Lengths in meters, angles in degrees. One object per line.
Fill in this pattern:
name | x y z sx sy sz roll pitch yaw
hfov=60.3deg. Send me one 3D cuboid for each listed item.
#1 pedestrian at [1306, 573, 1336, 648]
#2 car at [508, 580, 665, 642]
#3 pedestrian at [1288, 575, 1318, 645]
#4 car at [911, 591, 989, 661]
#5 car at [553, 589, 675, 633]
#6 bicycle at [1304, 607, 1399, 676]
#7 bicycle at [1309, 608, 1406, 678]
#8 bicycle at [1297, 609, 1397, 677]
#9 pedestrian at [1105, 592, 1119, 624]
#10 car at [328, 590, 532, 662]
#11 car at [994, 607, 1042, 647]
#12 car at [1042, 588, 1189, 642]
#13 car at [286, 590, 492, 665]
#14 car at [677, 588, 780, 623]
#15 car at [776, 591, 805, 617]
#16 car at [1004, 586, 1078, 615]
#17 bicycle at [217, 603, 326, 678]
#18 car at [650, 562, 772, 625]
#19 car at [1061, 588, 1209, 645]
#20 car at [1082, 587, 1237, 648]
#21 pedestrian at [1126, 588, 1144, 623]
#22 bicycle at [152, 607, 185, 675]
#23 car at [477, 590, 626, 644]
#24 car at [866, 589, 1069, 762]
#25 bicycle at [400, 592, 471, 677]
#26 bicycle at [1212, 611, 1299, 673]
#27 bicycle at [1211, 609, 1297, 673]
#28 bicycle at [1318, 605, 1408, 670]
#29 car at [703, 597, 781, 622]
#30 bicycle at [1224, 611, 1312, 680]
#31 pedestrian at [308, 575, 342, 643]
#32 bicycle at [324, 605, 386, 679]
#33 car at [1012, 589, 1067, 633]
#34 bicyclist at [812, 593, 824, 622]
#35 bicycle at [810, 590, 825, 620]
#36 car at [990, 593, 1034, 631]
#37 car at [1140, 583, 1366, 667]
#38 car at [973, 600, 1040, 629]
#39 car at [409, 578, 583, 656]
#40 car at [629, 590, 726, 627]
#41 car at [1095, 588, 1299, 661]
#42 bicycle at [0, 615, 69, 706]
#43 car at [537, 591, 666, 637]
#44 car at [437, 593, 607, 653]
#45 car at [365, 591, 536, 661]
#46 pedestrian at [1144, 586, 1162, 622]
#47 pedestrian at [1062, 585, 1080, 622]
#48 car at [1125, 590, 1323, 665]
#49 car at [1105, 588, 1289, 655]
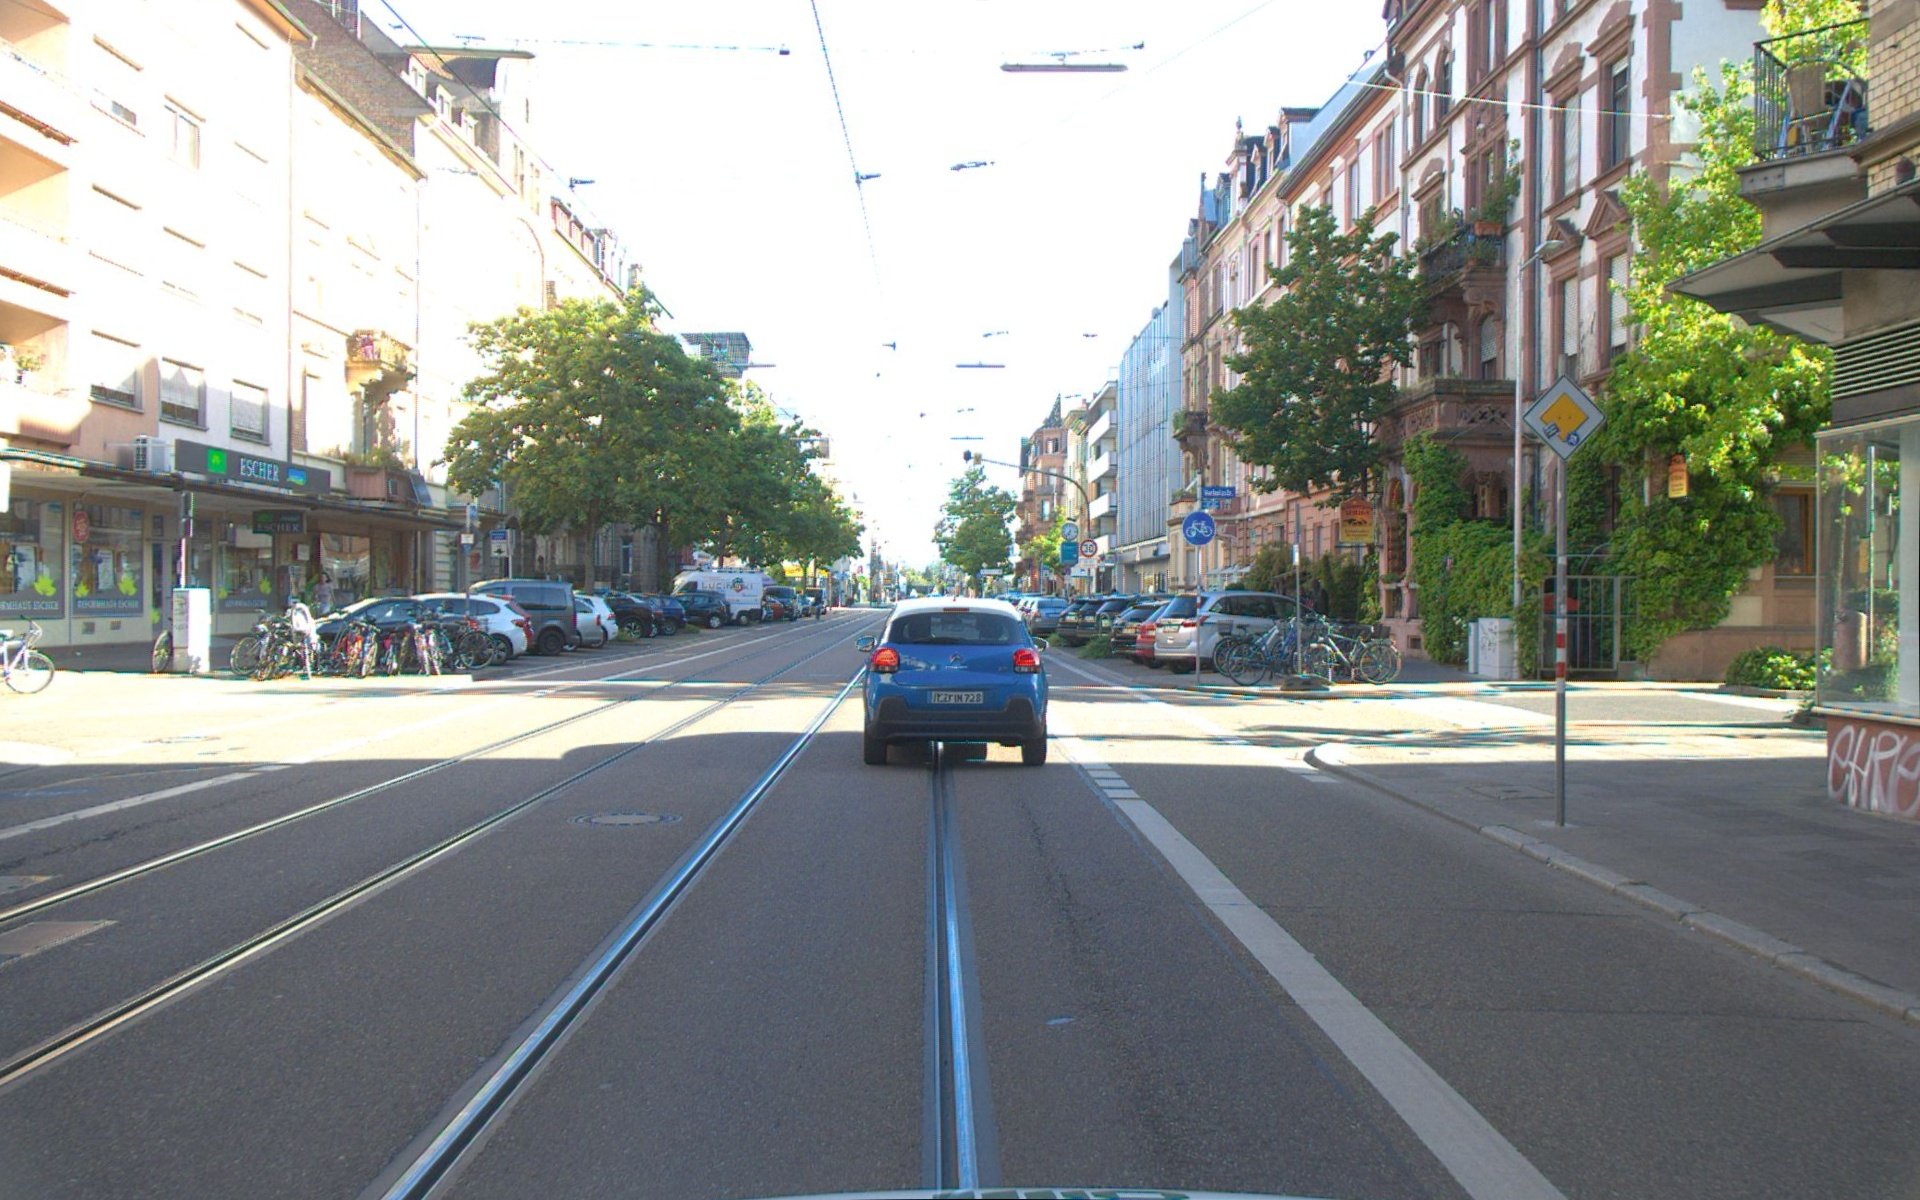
pedestrian | 8.838 0.261 40.504 0.507 1.809 0.863 1 0 -1
car | -11.517 0.348 51.034 4.313 1.814 1.973 1 0 -34
pedestrian | 8.316 0.243 40.107 0.507 1.677 0.863 1 0 -1
car | -0.250 0.612 41.166 1.835 1.624 3.999 1 0 -1
car | -12.443 0.401 59.457 3.943 1.515 1.789 1 0 -29
bicycle | 6.730 0.713 28.475 1.523 1.147 0.528 1 0 5
bicycle | 6.701 0.715 27.905 1.523 1.147 0.552 1 0 5
bicycle | 6.784 0.750 29.055 1.639 1.147 0.552 1 0 5
pedestrian | 8.408 0.441 91.406 0.678 1.786 0.678 1 0 -1
car | -11.102 0.537 34.709 3.746 1.424 1.734 1 0 -34
car | 2.444 1.141 70.381 1.835 1.624 3.999 1 0 -1
car | 4.911 0.463 52.269 4.249 1.624 1.966 1 0 -26
car | -10.941 0.525 31.757 3.431 1.361 1.604 1 0 -35
car | -11.301 0.289 80.844 4.713 1.646 1.692 1 0 -34
car | -10.924 0.263 106.641 1.713 1.646 4.407 1 0 -4
car | 4.526 0.044 92.251 3.686 1.547 1.945 1 0 -34
bicycle | -11.736 0.669 28.143 2.390 1.128 0.680 3 3 40
car | -11.552 -0.281 76.742 5.316 2.797 1.787 1 0 -31
car | 5.225 0.499 49.467 3.937 1.624 2.071 1 0 -26
car | 5.627 0.498 46.652 3.937 1.624 1.943 1 0 -26
pedestrian | 8.219 0.264 77.601 0.697 1.635 0.654 -2 0 -2
bicycle | -13.665 0.684 28.578 0.397 1.129 1.825 0 0 -22
car | -11.505 0.483 46.635 3.786 1.455 1.751 1 0 -27
car | 0.030 0.653 16.048 1.726 1.466 3.556 1 0 -1
bicycle | -9.246 0.578 29.257 0.668 1.342 2.434 1 2 -5
bicycle | 5.353 0.757 29.994 1.523 1.098 0.307 1 0 5
bicycle | 5.381 0.744 30.316 1.527 1.147 0.295 1 0 5
bicycle | 7.390 0.686 30.372 1.523 1.147 0.552 1 0 5
car | -11.432 0.497 86.694 3.751 1.287 1.503 1 0 -27
bicycle | 5.248 0.781 28.205 1.373 1.147 0.549 1 0 -14
pedestrian | -15.819 0.222 41.208 0.557 1.681 0.641 1 0 -1
bicycle | -10.533 0.706 28.755 0.675 1.143 1.867 0 3 -31
car | 3.047 0.405 64.297 1.835 1.624 4.718 1 0 -1
bicyclist | -8.405 0.430 97.606 0.621 1.711 0.726 1 0 -1
bicycle | -8.404 0.301 97.496 0.666 1.708 2.096 1 0 -1
car | 2.339 0.543 75.580 1.835 1.624 3.999 1 0 -1
car | 5.980 0.512 33.683 4.297 1.624 1.838 1 0 -26
car | 2.672 0.821 94.988 3.409 1.582 1.804 1 0 -33
car | -11.314 0.421 40.362 3.769 1.816 1.780 1 0 -29
car | -12.133 0.376 71.029 3.924 1.515 1.797 1 0 -18
car | 5.581 0.575 38.942 4.379 1.624 2.072 1 0 -26
bicycle | -13.584 0.838 23.617 0.668 1.128 2.432 1 2 -7
car | -12.249 0.495 56.535 3.951 1.515 1.785 1 0 -34
car | -11.416 0.603 43.160 3.970 1.475 1.680 1 0 -34
car | -11.506 0.558 37.376 3.423 1.499 1.632 0 1 -30
pedestrian | 9.065 0.186 77.711 0.697 1.635 0.654 1 0 -2
pedestrian | 4.859 0.151 72.576 0.697 1.635 0.654 1 0 -2
car | 5.791 0.601 36.250 3.937 1.563 1.903 1 0 -26
car | 6.039 0.553 42.093 4.264 1.624 2.029 1 0 -26
